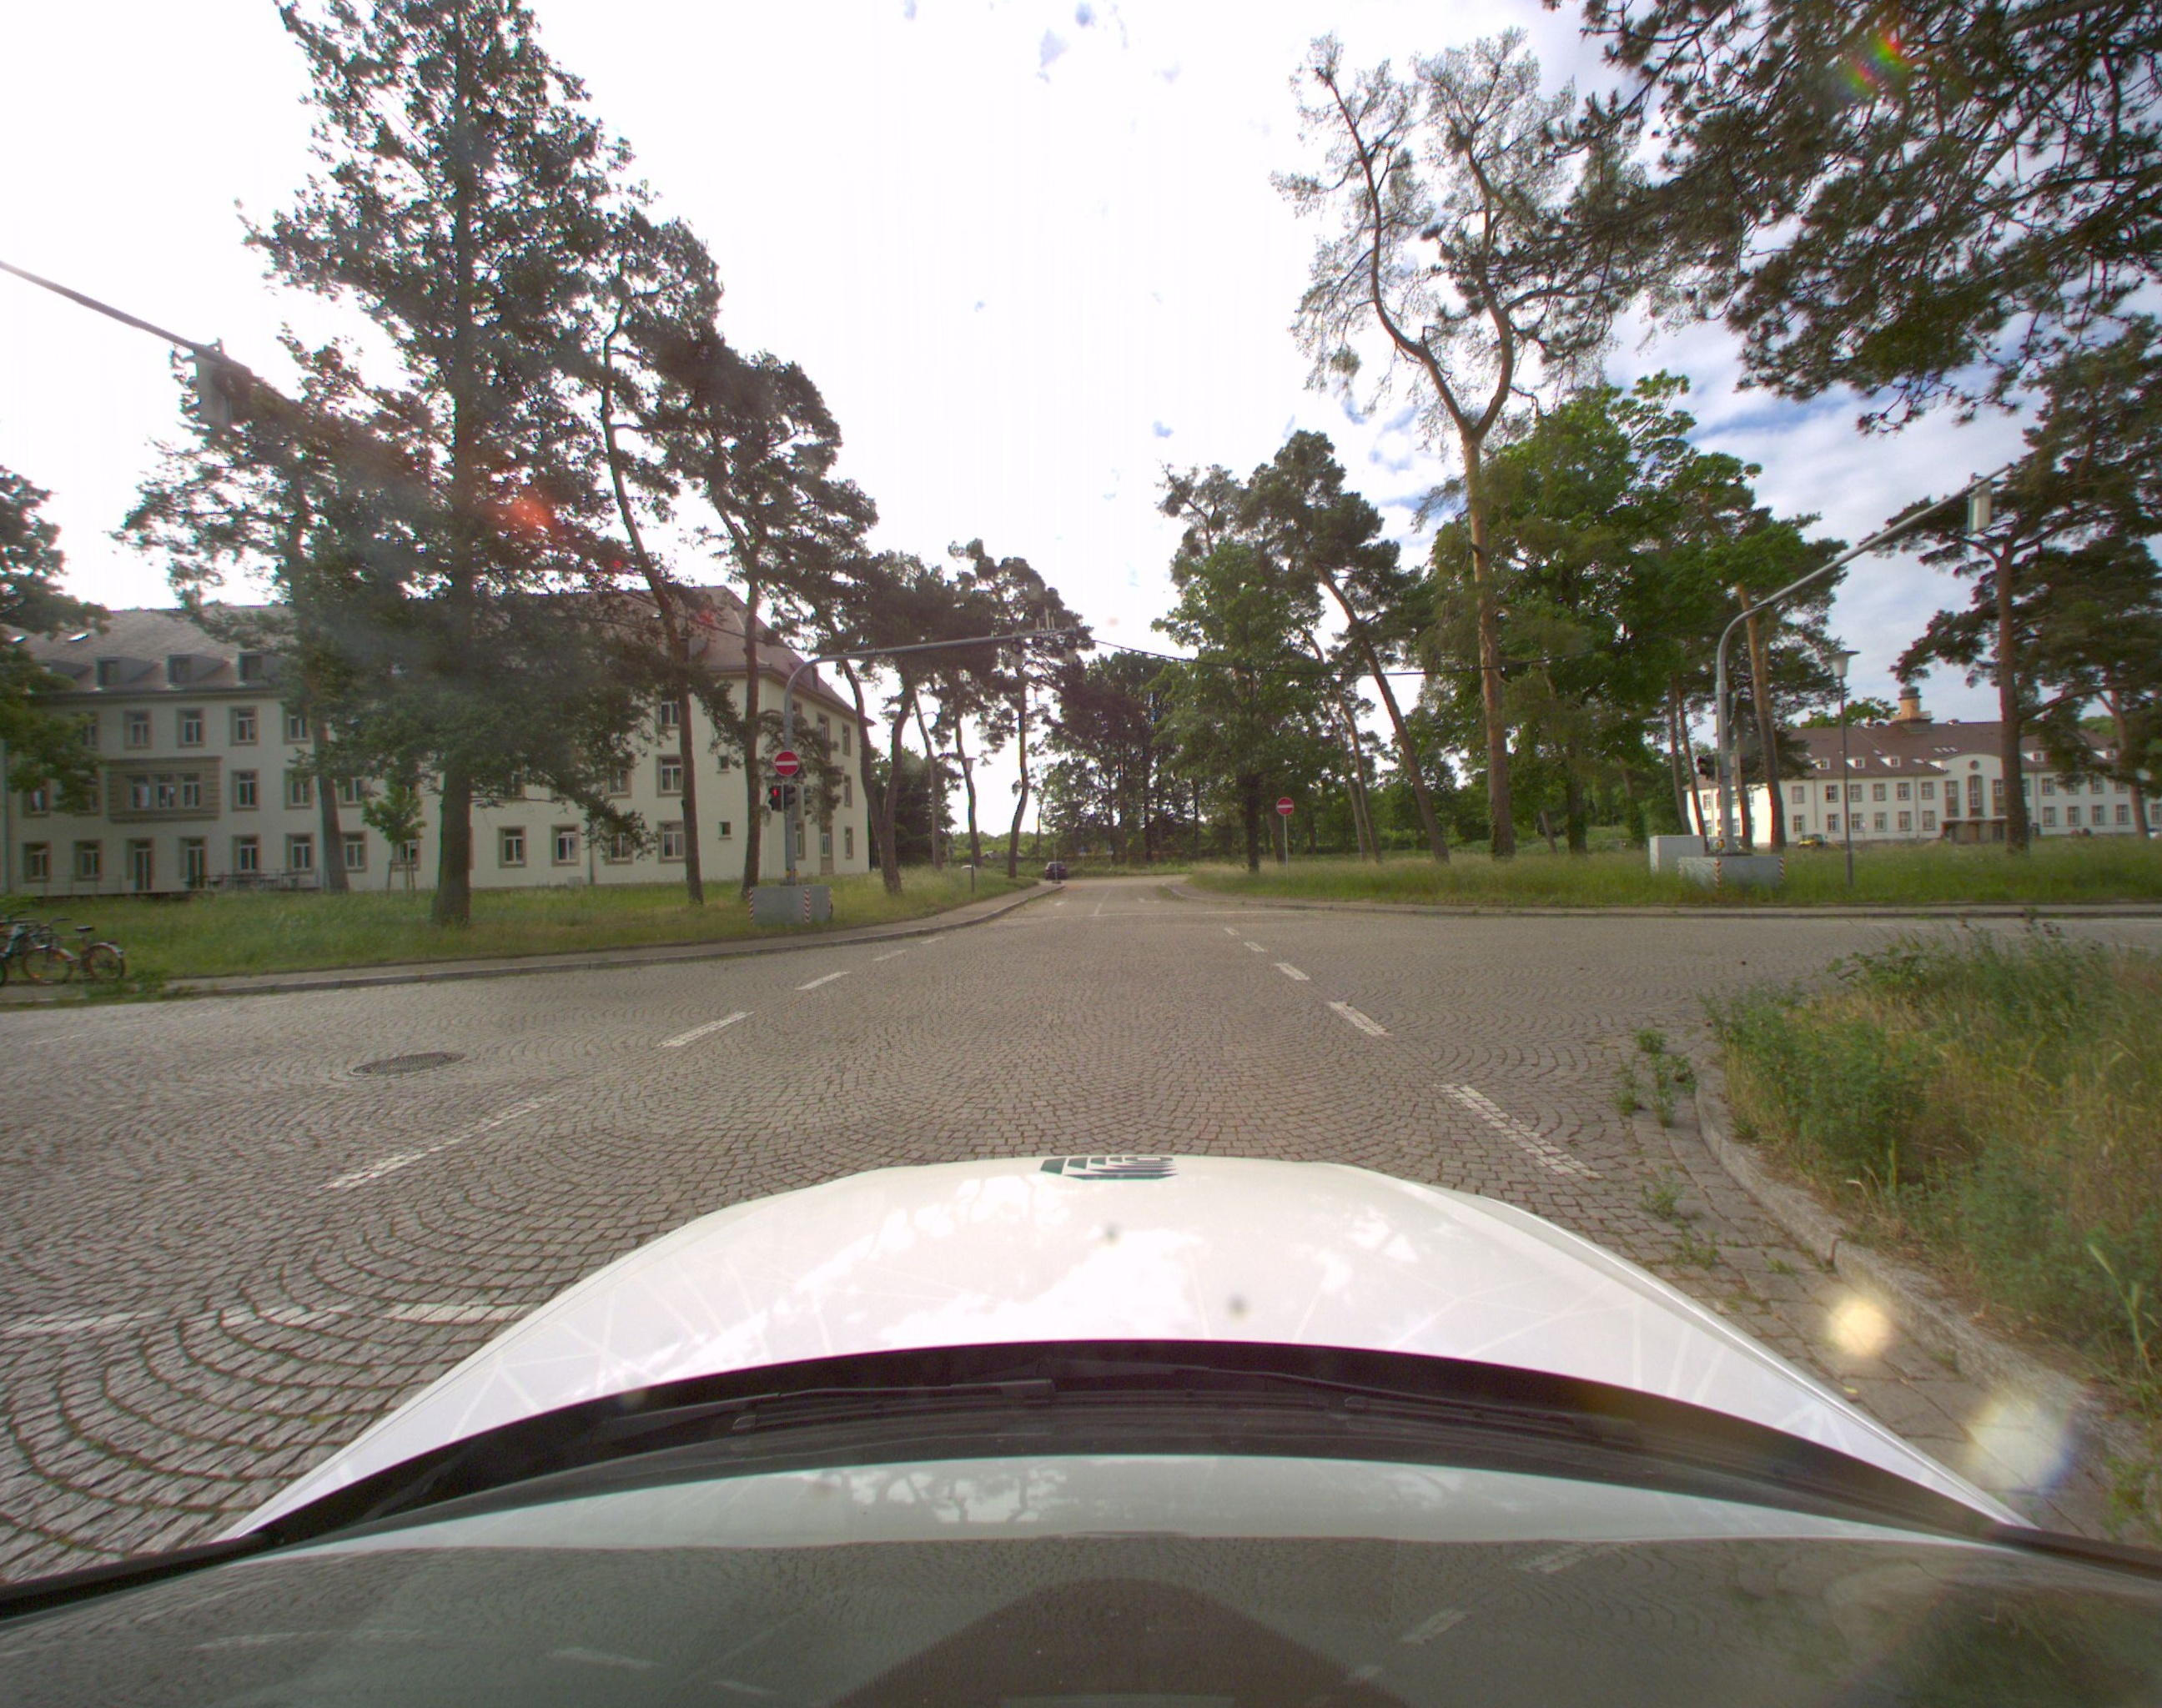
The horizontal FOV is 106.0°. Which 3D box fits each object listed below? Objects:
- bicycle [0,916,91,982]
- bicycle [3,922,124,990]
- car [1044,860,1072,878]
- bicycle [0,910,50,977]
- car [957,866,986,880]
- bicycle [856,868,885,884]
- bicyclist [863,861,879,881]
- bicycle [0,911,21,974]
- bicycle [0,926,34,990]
[{"bbox_3d":[-19.461,1.735,14.745,0.572,1.078,1.997,-2,0,2],"label":"bicycle"},{"bbox_3d":[-16.474,1.650,13.197,1.453,0.996,0.453,-2,-1,3],"label":"bicycle"},{"bbox_3d":[-1.943,1.269,69.981,1.984,1.508,4.004,0,0,4],"label":"car"},{"bbox_3d":[-20.159,1.677,14.692,0.572,1.178,1.955,-2,0,2],"label":"bicycle"},{"bbox_3d":[-9.619,1.643,71.496,1.681,1.156,4.004,-2,0,4],"label":"car"},{"bbox_3d":[-16.385,1.702,63.459,1.980,1.095,0.810,-2,0,-1],"label":"bicycle"},{"bbox_3d":[-16.385,1.334,63.470,0.971,1.510,0.807,-2,-1,-1],"label":"bicyclist"},{"bbox_3d":[-20.741,1.684,14.741,0.525,1.178,1.931,-2,0,2],"label":"bicycle"},{"bbox_3d":[-17.999,1.703,13.228,1.453,0.996,0.453,-2,-1,3],"label":"bicycle"}]
